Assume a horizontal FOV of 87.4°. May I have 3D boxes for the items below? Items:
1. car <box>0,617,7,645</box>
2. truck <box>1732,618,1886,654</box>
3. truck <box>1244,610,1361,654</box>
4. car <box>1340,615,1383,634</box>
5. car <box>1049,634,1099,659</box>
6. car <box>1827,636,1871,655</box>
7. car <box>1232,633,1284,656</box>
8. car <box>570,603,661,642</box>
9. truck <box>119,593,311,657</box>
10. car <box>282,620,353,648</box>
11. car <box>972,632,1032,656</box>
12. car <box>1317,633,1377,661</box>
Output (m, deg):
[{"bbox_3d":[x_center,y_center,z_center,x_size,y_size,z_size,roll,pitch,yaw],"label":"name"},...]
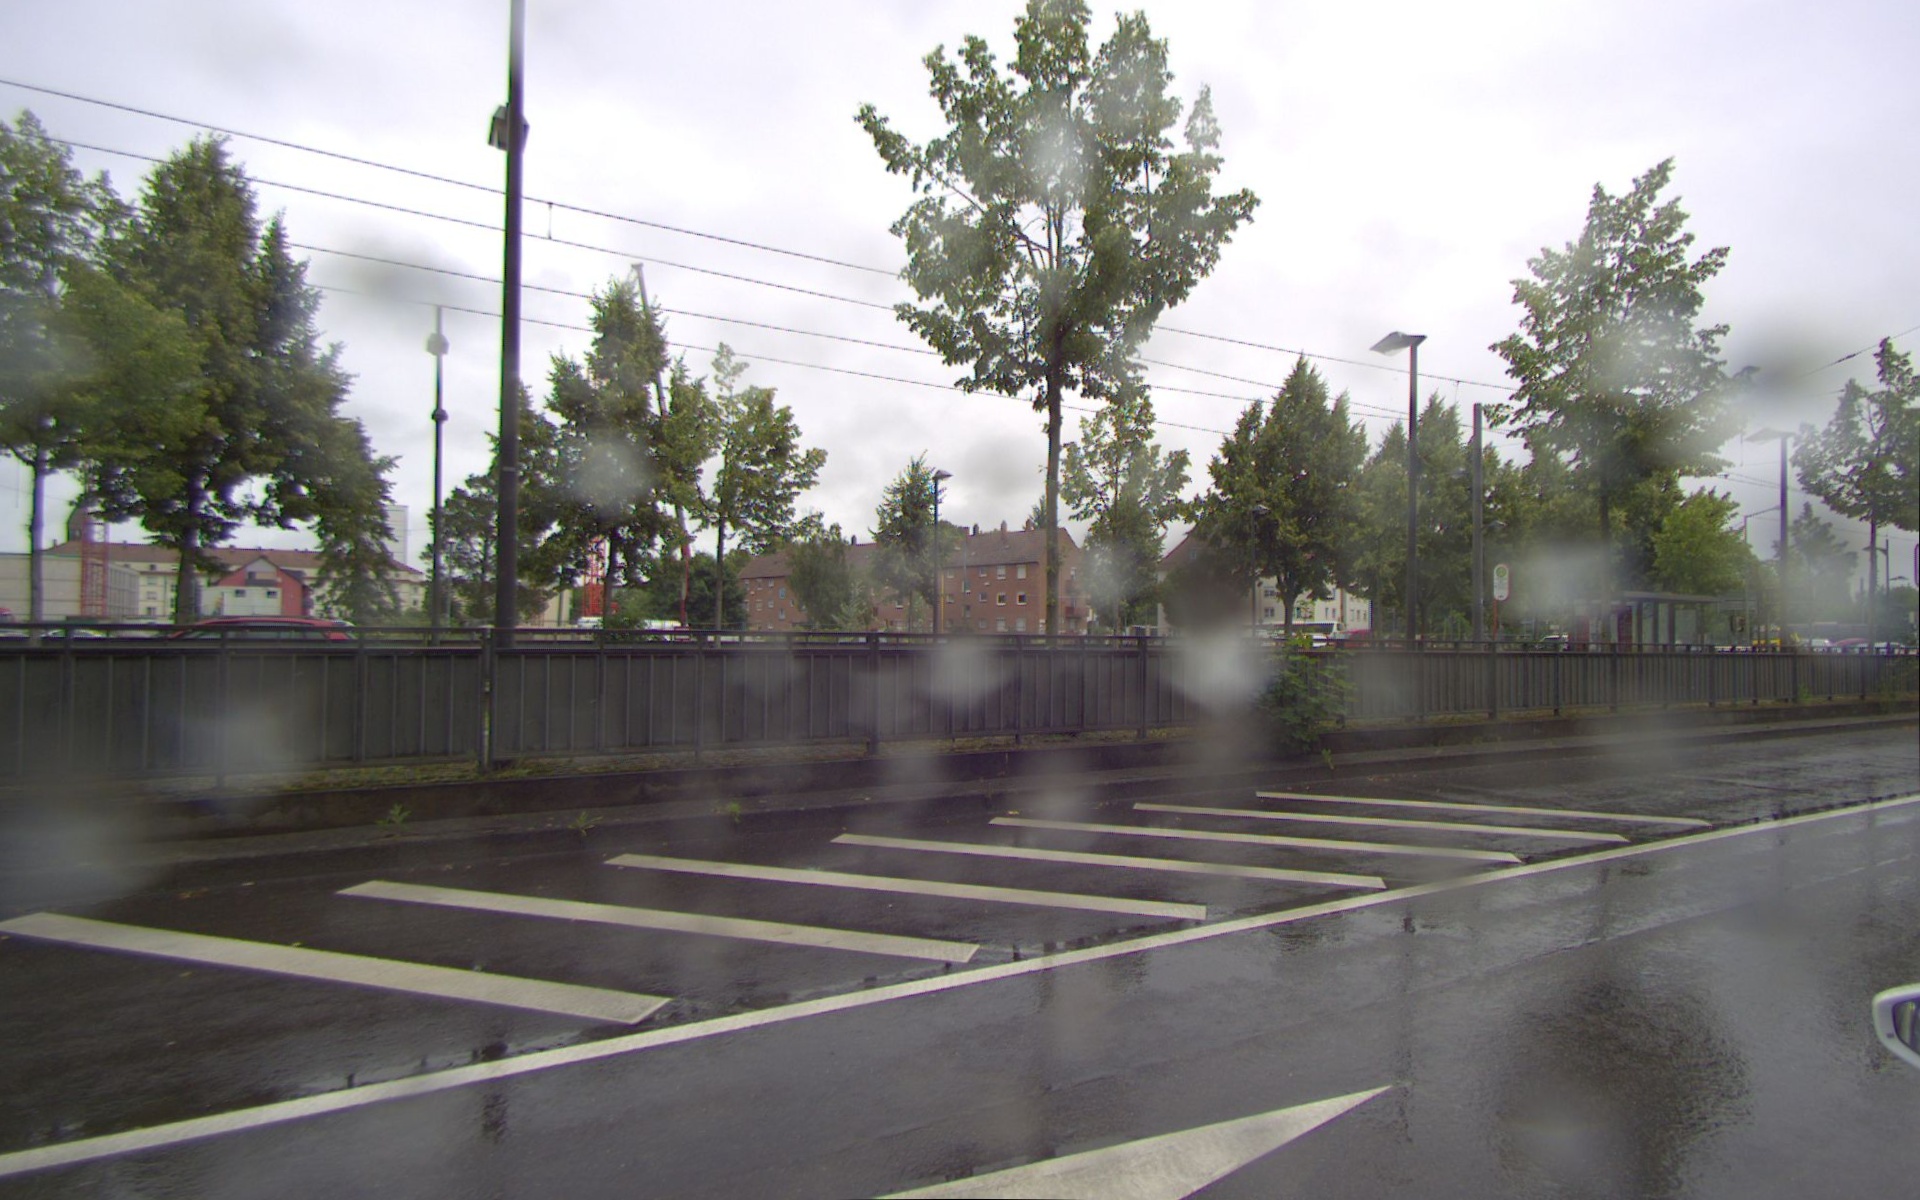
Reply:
[{"bbox_3d":[-55.815,1.788,55.877,3.769,1.539,1.732,-1,-2,-31],"label":"car"},{"bbox_3d":[80.710,3.468,95.437,14.659,3.188,3.513,1,-2,-15],"label":"truck"},{"bbox_3d":[39.567,3.732,116.334,12.284,4.653,3.392,-3,-2,34],"label":"truck"},{"bbox_3d":[39.376,2.384,98.508,3.486,1.761,1.700,-3,-2,37],"label":"car"},{"bbox_3d":[10.065,4.100,88.802,3.953,2.040,1.984,-1,-2,-31],"label":"car"},{"bbox_3d":[92.677,4.709,104.675,3.854,1.779,1.652,-1,-1,-17],"label":"car"},{"bbox_3d":[27.152,4.052,91.570,4.145,2.040,1.994,1,-2,-15],"label":"car"},{"bbox_3d":[-22.812,1.485,66.558,5.436,2.357,1.829,-1,-1,-31],"label":"car"},{"bbox_3d":[-68.674,2.249,92.994,6.108,5.467,13.252,-3,-2,39],"label":"truck"},{"bbox_3d":[-44.670,2.362,69.887,3.968,1.840,1.808,-1,-2,-41],"label":"car"},{"bbox_3d":[4.018,4.174,95.221,5.295,2.040,2.082,-1,-1,-23],"label":"car"},{"bbox_3d":[29.913,3.626,77.671,3.933,2.040,1.994,1,-2,-15],"label":"car"}]
